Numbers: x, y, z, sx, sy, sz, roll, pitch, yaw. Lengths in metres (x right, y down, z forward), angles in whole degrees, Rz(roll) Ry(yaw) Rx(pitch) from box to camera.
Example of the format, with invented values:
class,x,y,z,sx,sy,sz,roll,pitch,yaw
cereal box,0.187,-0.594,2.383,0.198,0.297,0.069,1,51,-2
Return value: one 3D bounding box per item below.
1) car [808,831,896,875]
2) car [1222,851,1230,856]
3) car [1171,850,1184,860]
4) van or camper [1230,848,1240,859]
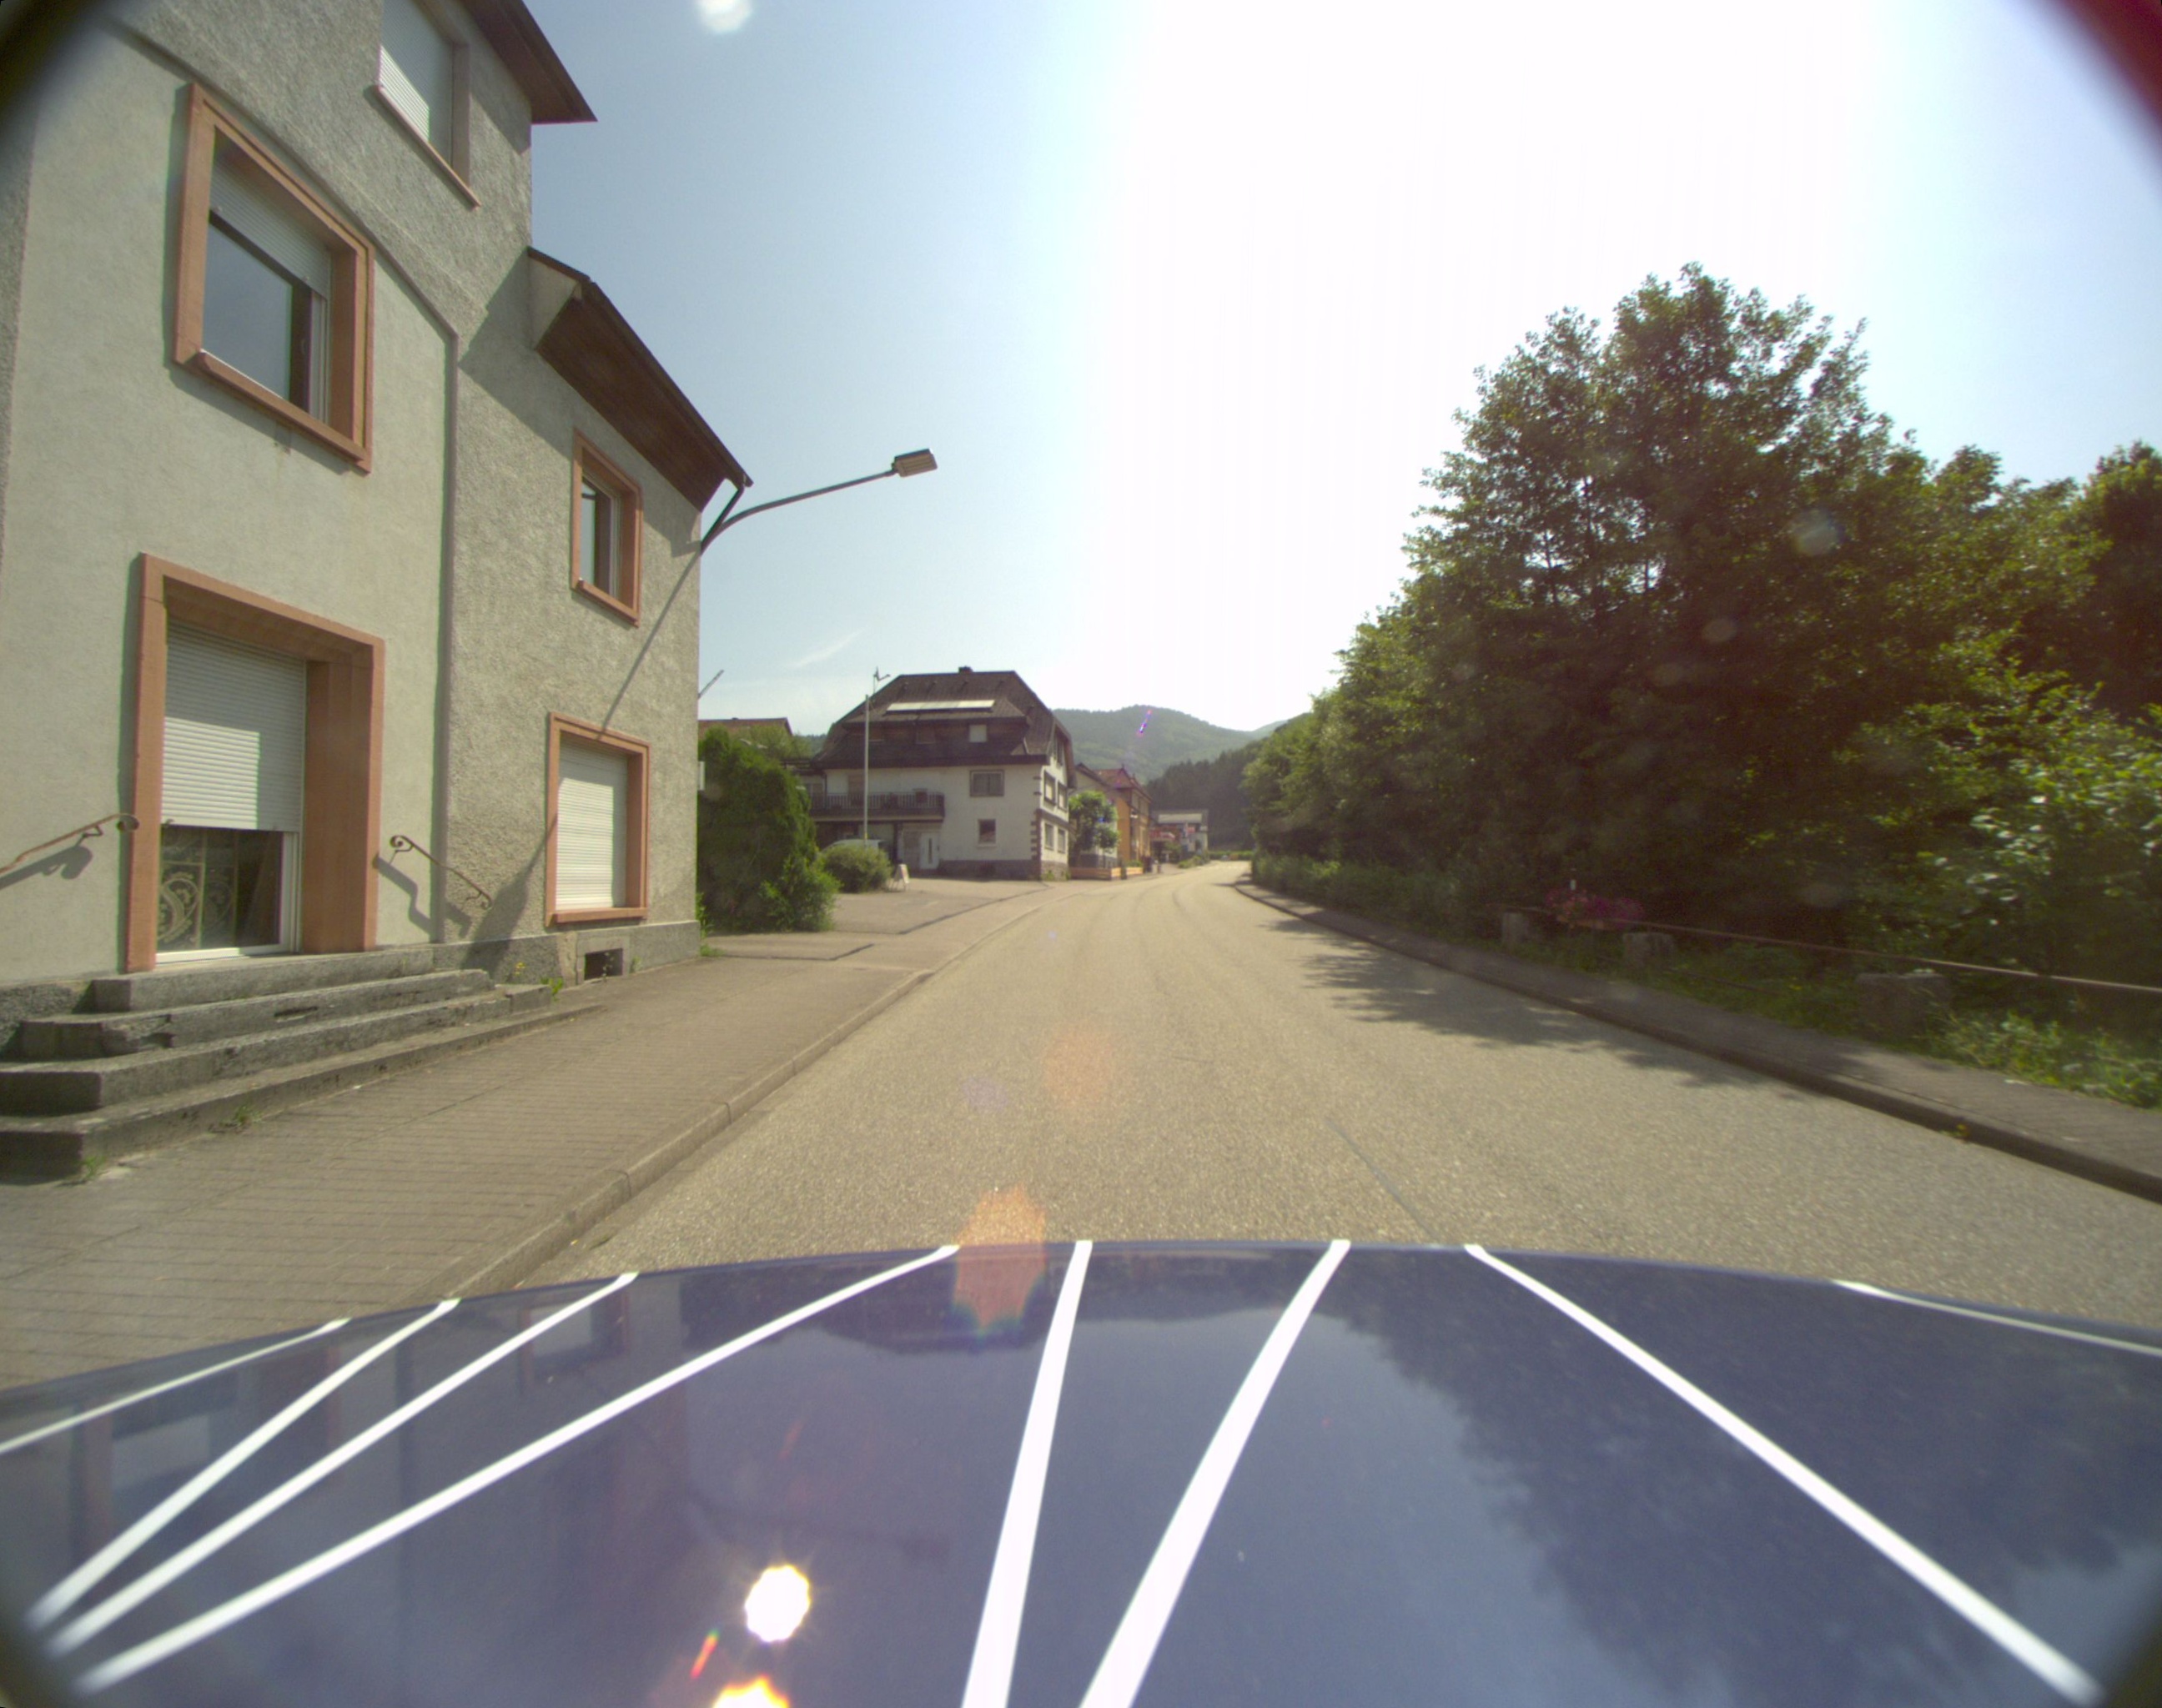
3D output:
class,x,y,z,sx,sy,sz,roll,pitch,yaw
car,-12.005,-0.081,39.913,4.014,1.973,1.636,4,2,5
car,38.301,-0.130,200.679,1.592,1.474,3.761,1,0,15
car,15.948,0.182,125.451,1.694,1.568,3.915,3,2,14
van or camper,41.798,-0.072,205.548,2.361,2.936,8.060,1,0,13
